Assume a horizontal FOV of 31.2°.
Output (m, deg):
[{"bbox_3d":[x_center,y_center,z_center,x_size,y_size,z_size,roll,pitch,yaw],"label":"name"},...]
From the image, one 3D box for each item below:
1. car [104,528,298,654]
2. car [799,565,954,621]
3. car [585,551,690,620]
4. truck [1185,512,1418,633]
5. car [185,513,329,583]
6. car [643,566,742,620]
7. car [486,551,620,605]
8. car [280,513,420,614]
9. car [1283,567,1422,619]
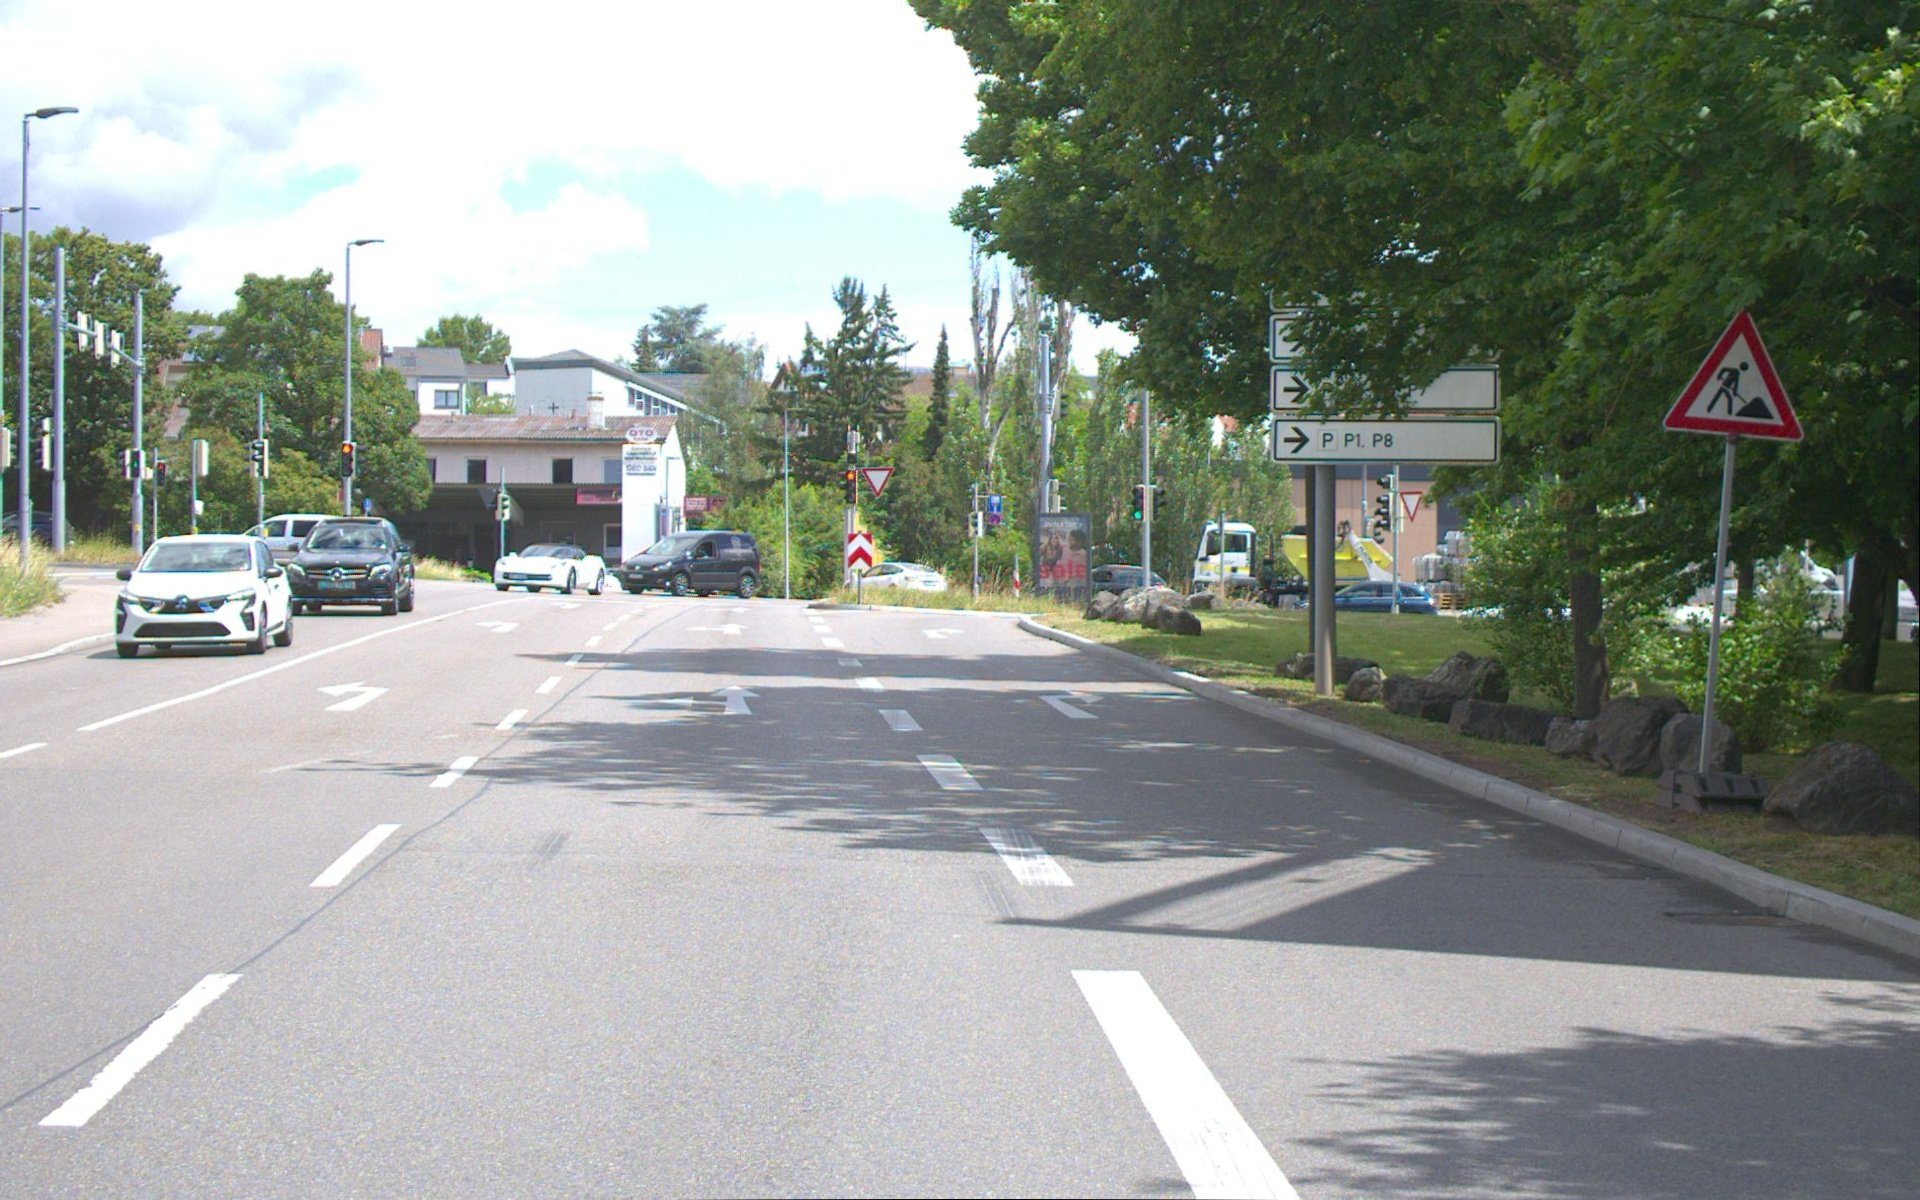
[{"bbox_3d":[-9.201,-0.128,41.942,1.766,1.437,3.900,-1,1,-4],"label":"car"},{"bbox_3d":[-2.786,-0.234,114.418,4.801,1.773,1.788,1,-1,23],"label":"car"},{"bbox_3d":[-8.752,-0.371,93.709,1.785,1.773,4.809,1,-1,8],"label":"car"},{"bbox_3d":[10.685,-0.855,108.003,6.944,3.567,2.847,-2,0,1],"label":"truck"},{"bbox_3d":[-21.583,-1.580,105.657,3.987,2.007,2.000,-2,0,-1],"label":"car"},{"bbox_3d":[-9.758,-0.250,125.354,1.899,1.853,3.810,-1,0,-34],"label":"car"},{"bbox_3d":[-10.010,-0.557,84.897,1.905,1.287,4.607,0,1,12],"label":"car"},{"bbox_3d":[-10.500,-0.647,59.458,1.821,1.648,4.533,-1,1,-3],"label":"car"},{"bbox_3d":[11.893,-0.206,104.367,3.987,1.395,1.697,3,0,1],"label":"car"}]
